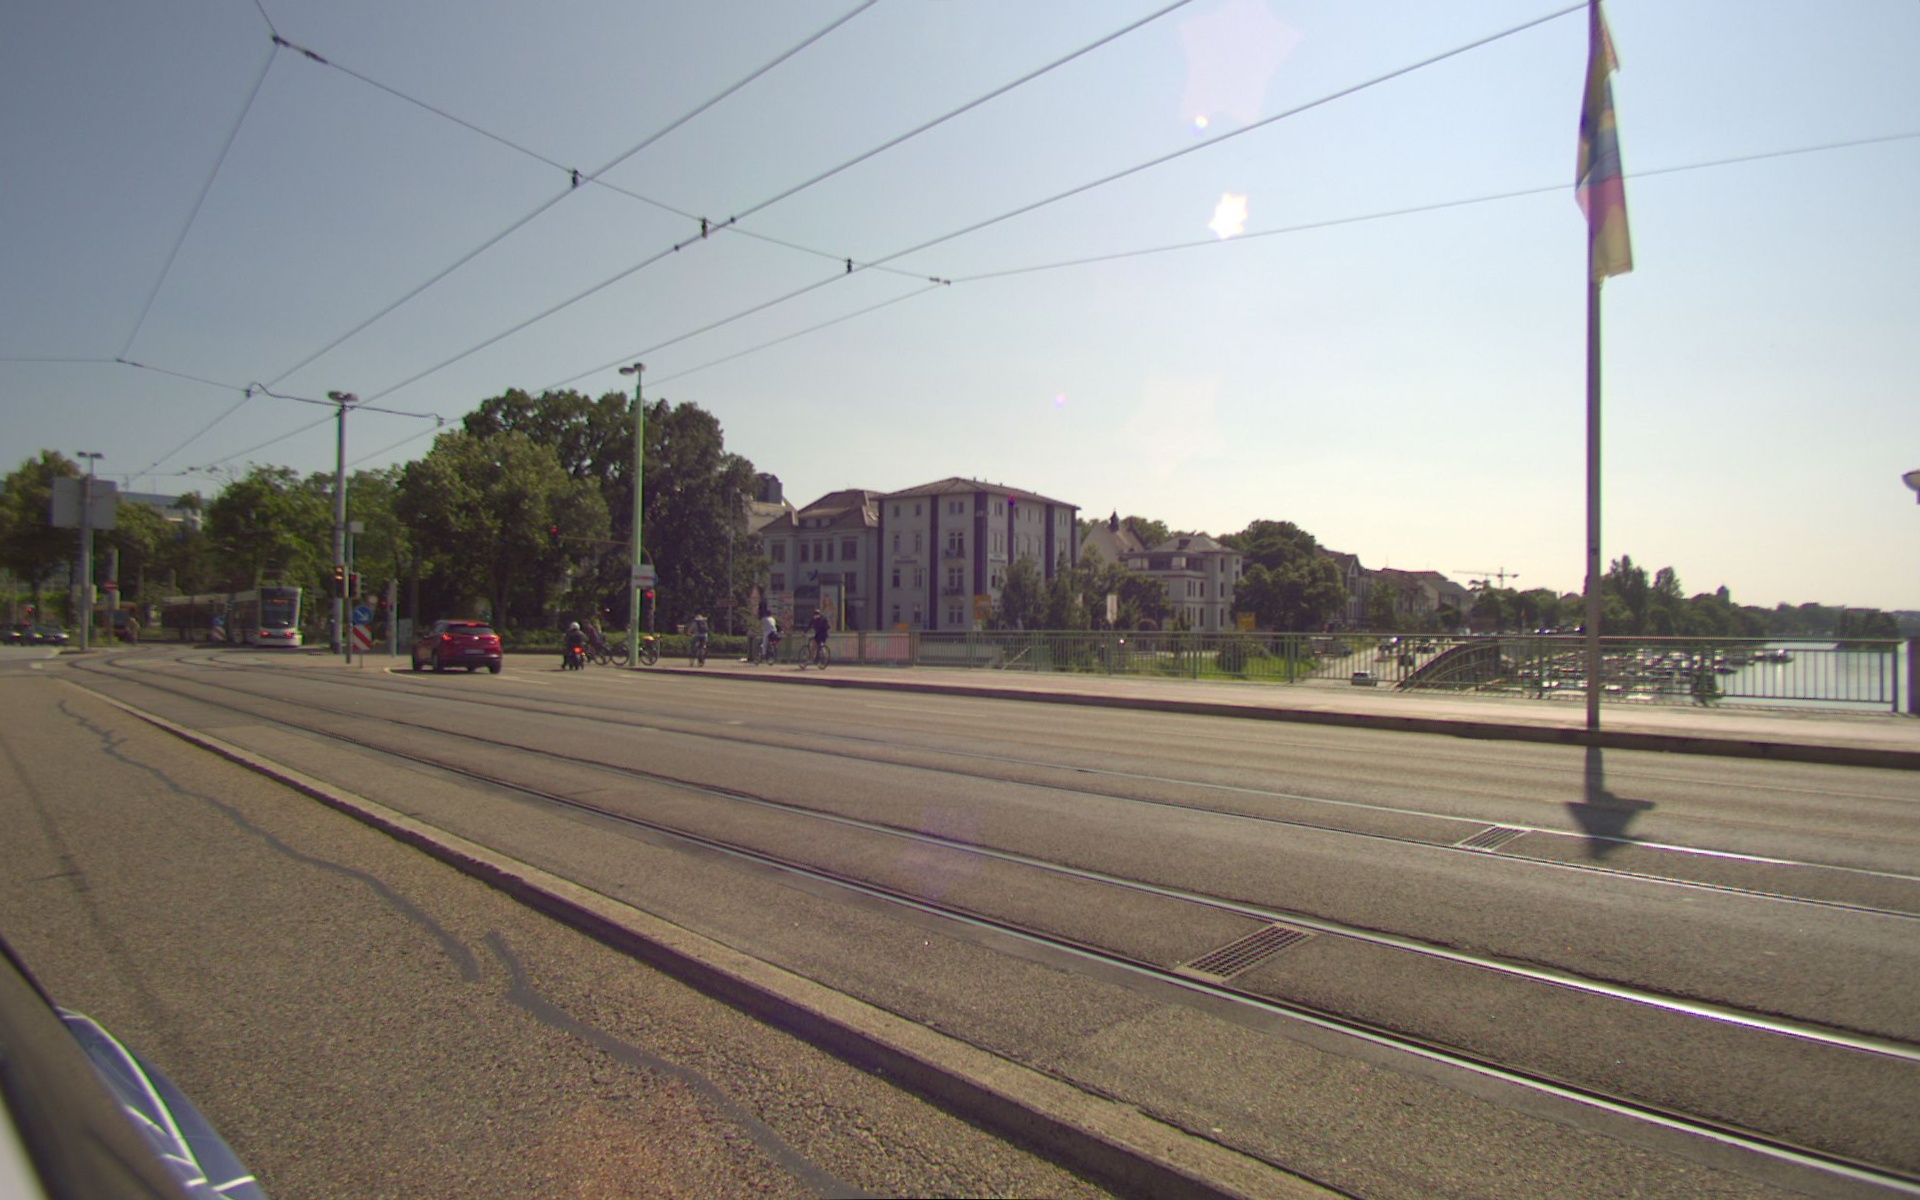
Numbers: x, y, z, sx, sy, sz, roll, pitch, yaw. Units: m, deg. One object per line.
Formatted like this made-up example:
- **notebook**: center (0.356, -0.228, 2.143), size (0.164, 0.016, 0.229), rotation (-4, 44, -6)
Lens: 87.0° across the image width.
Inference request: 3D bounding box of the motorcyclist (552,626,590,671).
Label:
- **motorcyclist**: center (-12.635, 1.576, 32.894), size (0.897, 1.412, 0.836), rotation (-1, 0, 41)

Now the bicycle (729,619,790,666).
- **bicycle**: center (-6.475, 1.346, 32.632), size (2.162, 1.410, 0.697), rotation (-1, 2, 42)

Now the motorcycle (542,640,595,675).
- **motorcycle**: center (-12.806, 1.865, 33.056), size (1.951, 1.032, 0.835), rotation (-1, 0, 43)

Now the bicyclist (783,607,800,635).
- **bicyclist**: center (-10.171, 1.250, 61.063), size (0.865, 1.687, 0.774), rotation (1, -1, -17)

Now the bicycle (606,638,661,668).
- **bicycle**: center (-12.655, 2.052, 39.219), size (1.892, 1.122, 0.762), rotation (0, -1, -3)

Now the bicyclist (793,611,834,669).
- **bicyclist**: center (-4.189, 1.132, 28.864), size (0.772, 1.621, 0.867), rotation (-1, -1, 43)

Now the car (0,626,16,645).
- **car**: center (-70.871, 2.603, 74.327), size (3.909, 1.318, 1.617), rotation (-1, -3, 38)

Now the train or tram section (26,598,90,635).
- **train or tram section**: center (-88.779, 1.709, 99.473), size (12.399, 3.429, 2.732), rotation (-1, -3, 39)

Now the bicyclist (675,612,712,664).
- **bicyclist**: center (-8.465, 1.202, 32.139), size (0.867, 1.621, 0.772), rotation (3, -4, -44)

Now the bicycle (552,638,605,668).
- **bicycle**: center (-14.891, 2.057, 39.520), size (1.887, 1.122, 0.764), rotation (1, -1, -23)

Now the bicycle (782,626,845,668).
- **bicycle**: center (-4.181, 1.318, 28.847), size (1.921, 1.122, 0.750), rotation (-1, -1, 44)

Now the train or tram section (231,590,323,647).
- **train or tram section**: center (-47.451, 1.352, 70.191), size (9.605, 3.709, 2.381), rotation (-2, -3, 38)

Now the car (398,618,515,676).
- **car**: center (-14.820, 1.355, 29.704), size (1.969, 1.526, 4.195), rotation (4, -3, -42)

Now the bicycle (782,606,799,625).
- **bicycle**: center (-10.231, 0.946, 61.048), size (0.748, 1.122, 1.926), rotation (1, -1, -18)

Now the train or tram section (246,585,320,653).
- **train or tram section**: center (-41.942, 1.202, 63.032), size (2.435, 3.806, 11.887), rotation (0, -1, -27)

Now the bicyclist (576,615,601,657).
- **bicyclist**: center (-14.569, 1.420, 39.677), size (0.864, 1.621, 0.774), rotation (1, -1, -23)

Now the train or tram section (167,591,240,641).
- **train or tram section**: center (-60.612, 1.282, 80.974), size (9.159, 3.806, 2.512), rotation (-1, -2, 39)

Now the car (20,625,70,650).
- **car**: center (-56.628, 2.305, 62.615), size (4.745, 1.497, 1.729), rotation (-1, -3, 42)

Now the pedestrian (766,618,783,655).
- **pedestrian**: center (-9.038, 1.772, 49.321), size (0.686, 1.806, 0.700), rotation (0, -1, 1)

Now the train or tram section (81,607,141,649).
- **train or tram section**: center (-71.766, 2.369, 85.510), size (5.879, 3.429, 2.733), rotation (-1, -3, 38)

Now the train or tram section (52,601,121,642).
- **train or tram section**: center (-79.060, 1.988, 91.481), size (12.400, 3.429, 2.732), rotation (-1, -3, 40)

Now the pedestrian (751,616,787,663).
- **pedestrian**: center (-6.066, 1.243, 32.169), size (0.899, 1.466, 0.735), rotation (-1, -1, 44)

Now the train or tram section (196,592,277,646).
- **train or tram section**: center (-53.862, 1.322, 75.229), size (9.161, 3.806, 2.512), rotation (1, -1, 40)

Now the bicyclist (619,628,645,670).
- **bicyclist**: center (-12.713, 1.893, 39.216), size (0.760, 1.621, 0.880), rotation (0, -1, -3)

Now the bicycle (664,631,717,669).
- **bicycle**: center (-8.594, 1.602, 32.266), size (0.750, 1.122, 1.921), rotation (-2, -1, -44)
